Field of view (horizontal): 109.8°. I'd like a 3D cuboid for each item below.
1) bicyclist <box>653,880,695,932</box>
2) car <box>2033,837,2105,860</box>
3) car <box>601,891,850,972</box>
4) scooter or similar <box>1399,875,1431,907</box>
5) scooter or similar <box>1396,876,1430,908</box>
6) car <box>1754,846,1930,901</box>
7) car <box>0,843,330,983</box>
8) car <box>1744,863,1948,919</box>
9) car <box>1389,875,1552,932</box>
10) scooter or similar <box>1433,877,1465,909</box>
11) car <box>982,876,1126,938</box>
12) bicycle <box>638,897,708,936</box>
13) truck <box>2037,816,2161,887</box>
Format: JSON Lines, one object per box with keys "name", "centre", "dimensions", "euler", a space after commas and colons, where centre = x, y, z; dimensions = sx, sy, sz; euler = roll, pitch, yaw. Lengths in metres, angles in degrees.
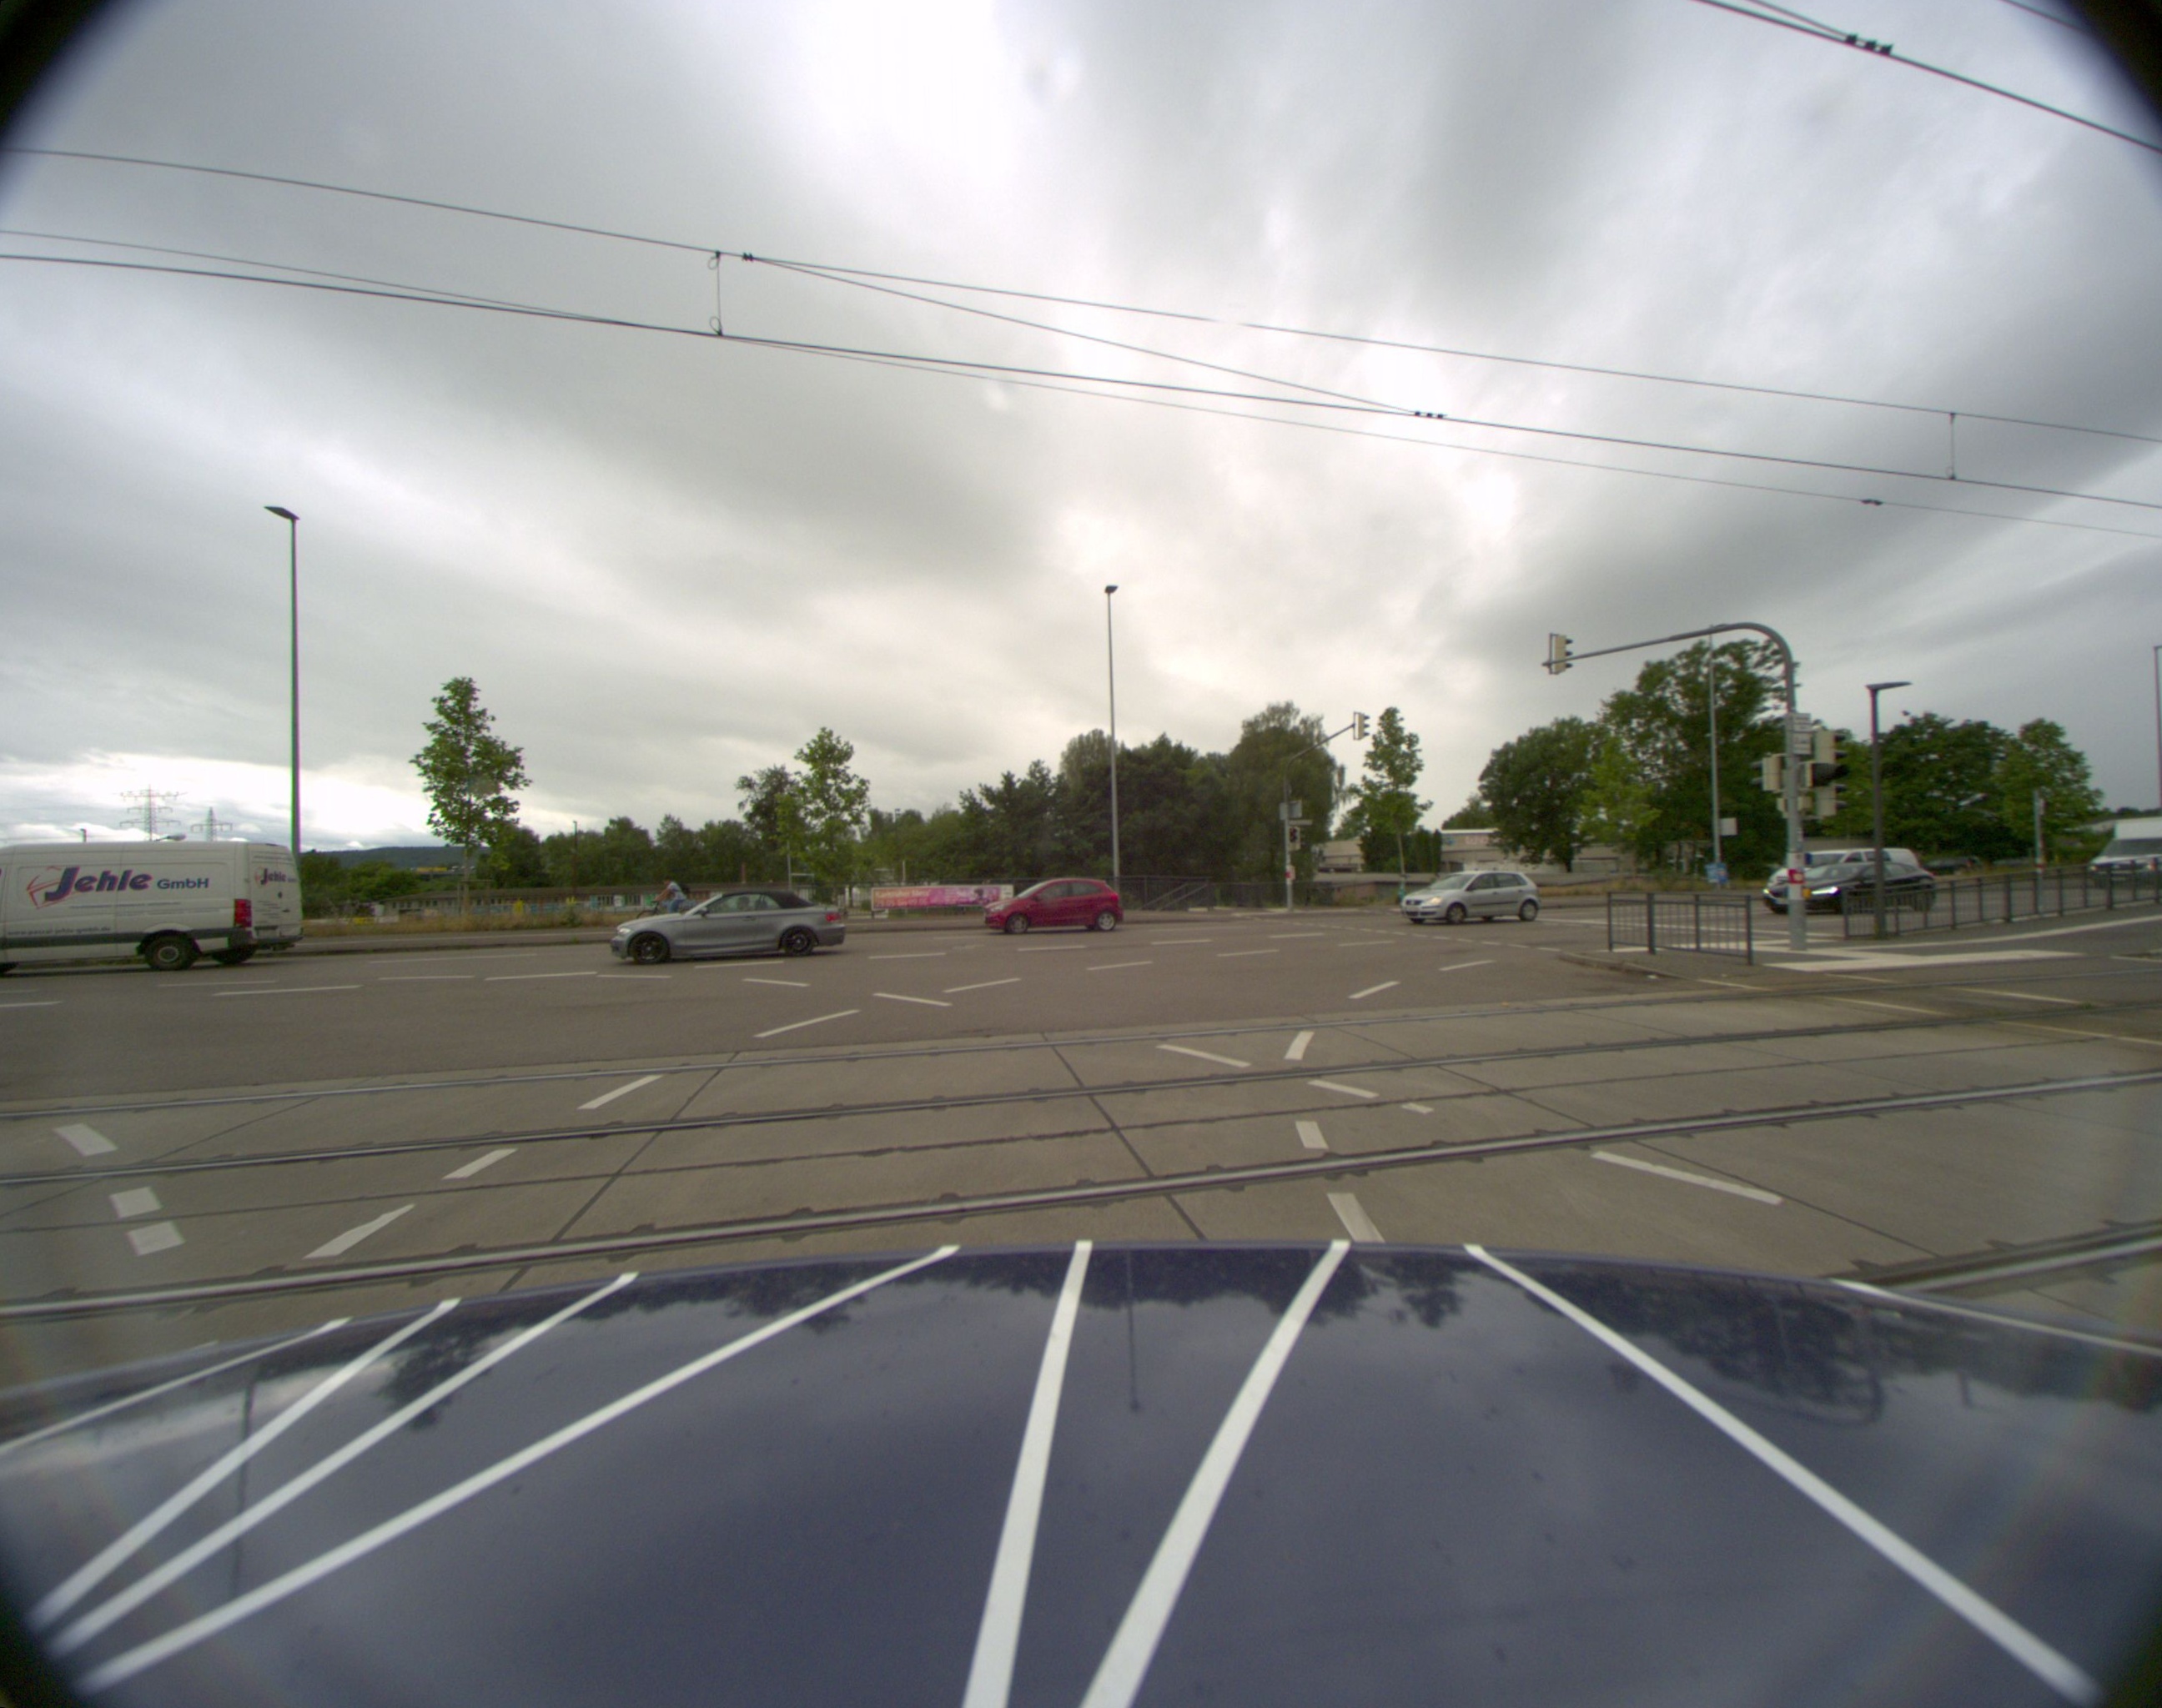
{"name": "bicyclist", "centre": [-11.865, 1.502, 22.179], "dimensions": [0.968, 1.445, 0.691], "euler": [0, 1, -17]}
{"name": "car", "centre": [91.472, -0.535, 70.368], "dimensions": [4.559, 2.001, 2.316], "euler": [0, -2, -12]}
{"name": "car", "centre": [-7.030, 1.498, 15.485], "dimensions": [4.347, 1.382, 1.874], "euler": [0, -2, -20]}
{"name": "scooter or similar", "centre": [13.593, 1.509, 30.950], "dimensions": [1.155, 1.236, 0.391], "euler": [-1, 0, -10]}
{"name": "scooter or similar", "centre": [13.303, 1.501, 30.444], "dimensions": [1.154, 1.236, 0.477], "euler": [-1, 0, -5]}
{"name": "car", "centre": [28.766, 0.736, 28.782], "dimensions": [5.121, 1.868, 2.100], "euler": [-1, -2, -10]}
{"name": "car", "centre": [-20.058, 1.163, 15.678], "dimensions": [5.905, 2.609, 2.661], "euler": [-1, -2, -21]}
{"name": "car", "centre": [21.403, 1.007, 21.332], "dimensions": [4.345, 1.382, 1.999], "euler": [-1, -2, -13]}
{"name": "car", "centre": [10.922, 1.355, 21.387], "dimensions": [3.851, 1.410, 1.682], "euler": [-1, -2, -13]}
{"name": "scooter or similar", "centre": [14.943, 1.573, 30.834], "dimensions": [1.047, 1.208, 0.375], "euler": [-4, 1, -5]}
{"name": "car", "centre": [-0.792, 1.464, 21.584], "dimensions": [3.773, 1.551, 1.655], "euler": [-1, -2, -15]}
{"name": "bicycle", "centre": [-11.870, 1.818, 22.156], "dimensions": [1.710, 1.040, 0.548], "euler": [0, 1, -17]}
{"name": "truck", "centre": [46.070, -0.100, 32.821], "dimensions": [6.543, 2.905, 2.827], "euler": [-1, -2, -7]}
